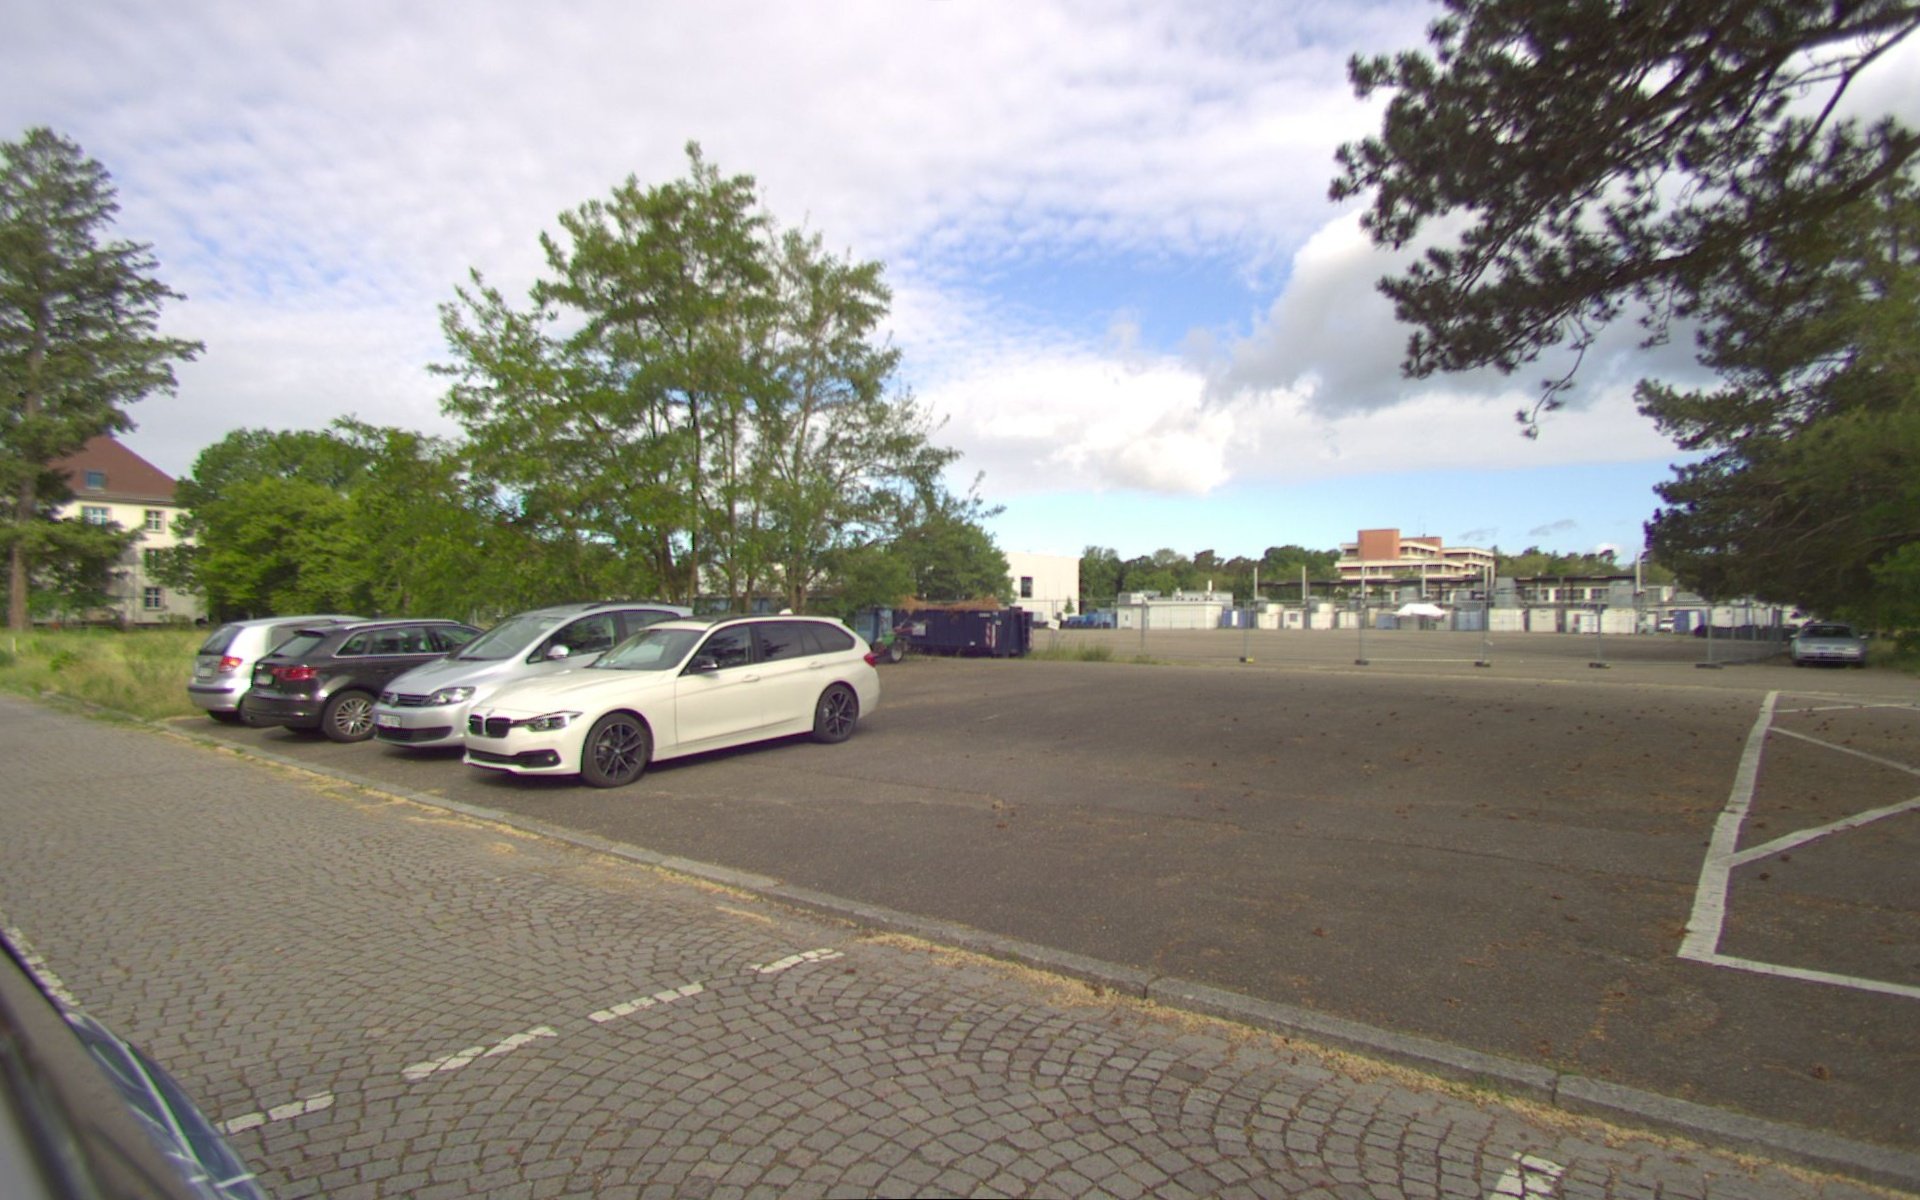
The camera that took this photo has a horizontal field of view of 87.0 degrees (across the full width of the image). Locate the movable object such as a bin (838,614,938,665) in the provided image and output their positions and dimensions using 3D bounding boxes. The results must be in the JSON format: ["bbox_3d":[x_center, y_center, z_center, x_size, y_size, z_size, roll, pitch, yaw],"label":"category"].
[{"bbox_3d":[-1.811,0.984,25.995,1.169,1.221,2.506,-1,-1,39],"label":"movable object such as a bin"}]

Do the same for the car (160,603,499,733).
[{"bbox_3d":[-9.278,0.894,15.197,1.677,1.467,3.940,-1,3,35],"label":"car"}]

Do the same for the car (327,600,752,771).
[{"bbox_3d":[-4.806,0.844,12.201,1.844,1.602,4.433,-1,0,36],"label":"car"}]

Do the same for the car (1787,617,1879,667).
[{"bbox_3d":[28.127,1.315,32.721,1.922,1.488,4.314,-1,-1,37],"label":"car"}]

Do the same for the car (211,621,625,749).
[{"bbox_3d":[-7.070,1.001,13.684,1.882,1.433,4.576,-1,-2,37],"label":"car"}]

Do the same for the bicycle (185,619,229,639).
[{"bbox_3d":[-58.899,2.239,79.160,2.637,1.516,1.273,1,-2,-45],"label":"bicycle"}]

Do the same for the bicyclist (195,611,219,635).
[{"bbox_3d":[-58.938,1.773,79.195,1.300,1.882,1.250,1,-2,-44],"label":"bicyclist"}]

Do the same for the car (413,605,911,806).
[{"bbox_3d":[-2.788,0.860,10.550,1.910,1.450,4.761,-1,1,37],"label":"car"}]
